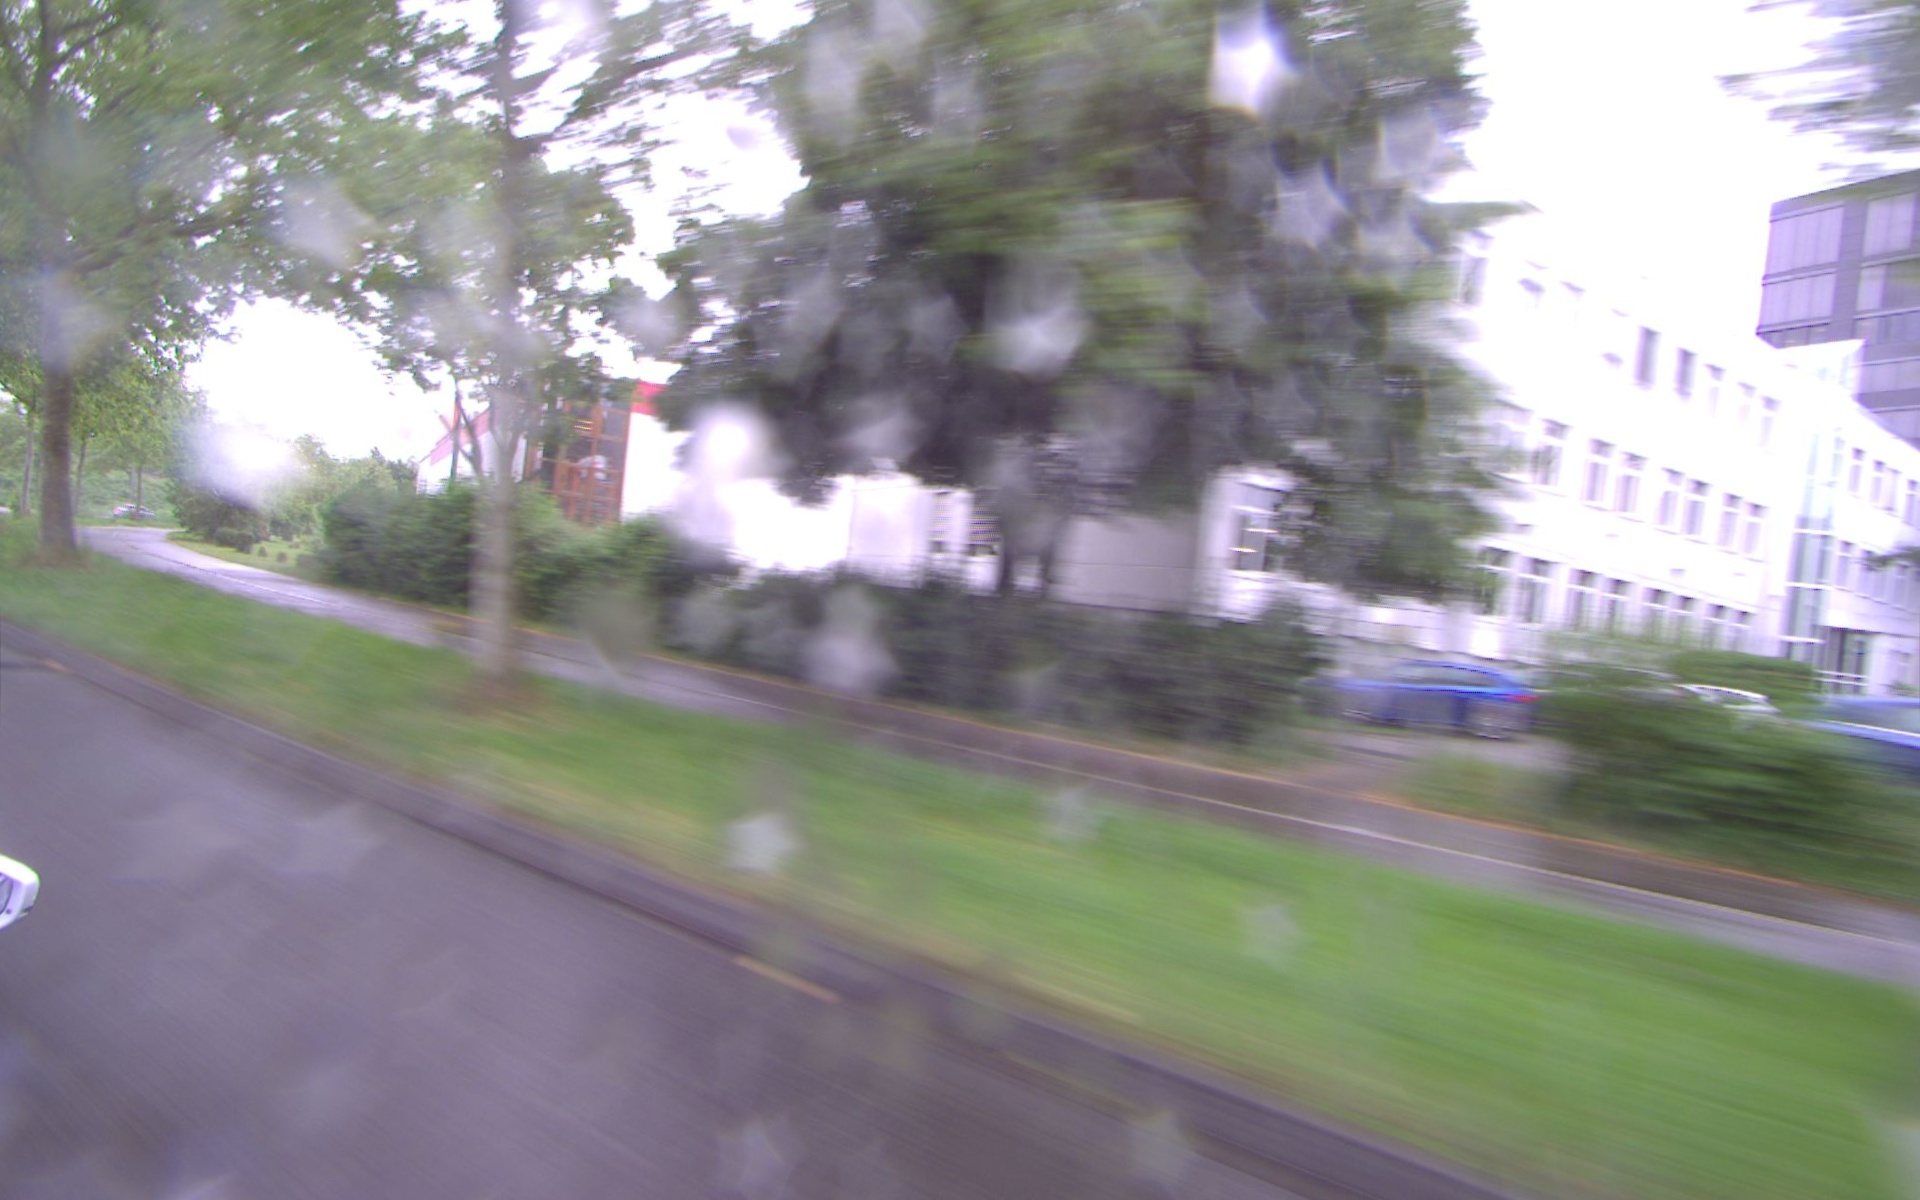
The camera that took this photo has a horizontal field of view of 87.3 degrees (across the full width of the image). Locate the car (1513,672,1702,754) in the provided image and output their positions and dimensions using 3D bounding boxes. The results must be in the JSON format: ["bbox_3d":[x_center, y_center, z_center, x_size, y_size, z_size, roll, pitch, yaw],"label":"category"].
[{"bbox_3d":[15.683,2.713,24.525,3.647,1.374,1.595,7,-1,34],"label":"car"}]

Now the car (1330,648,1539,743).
[{"bbox_3d":[9.789,1.955,21.040,3.637,1.374,1.599,7,-1,17],"label":"car"}]

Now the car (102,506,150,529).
[{"bbox_3d":[-72.983,-7.205,88.100,1.761,1.574,3.982,9,-1,-20],"label":"car"}]

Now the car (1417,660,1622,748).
[{"bbox_3d":[12.423,2.293,22.591,3.637,1.374,1.599,7,-1,17],"label":"car"}]

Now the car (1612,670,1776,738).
[{"bbox_3d":[21.142,2.992,29.167,3.647,1.374,1.595,7,-1,34],"label":"car"}]

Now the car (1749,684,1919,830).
[{"bbox_3d":[11.076,1.876,10.886,1.587,1.374,3.665,8,-2,-40],"label":"car"}]
